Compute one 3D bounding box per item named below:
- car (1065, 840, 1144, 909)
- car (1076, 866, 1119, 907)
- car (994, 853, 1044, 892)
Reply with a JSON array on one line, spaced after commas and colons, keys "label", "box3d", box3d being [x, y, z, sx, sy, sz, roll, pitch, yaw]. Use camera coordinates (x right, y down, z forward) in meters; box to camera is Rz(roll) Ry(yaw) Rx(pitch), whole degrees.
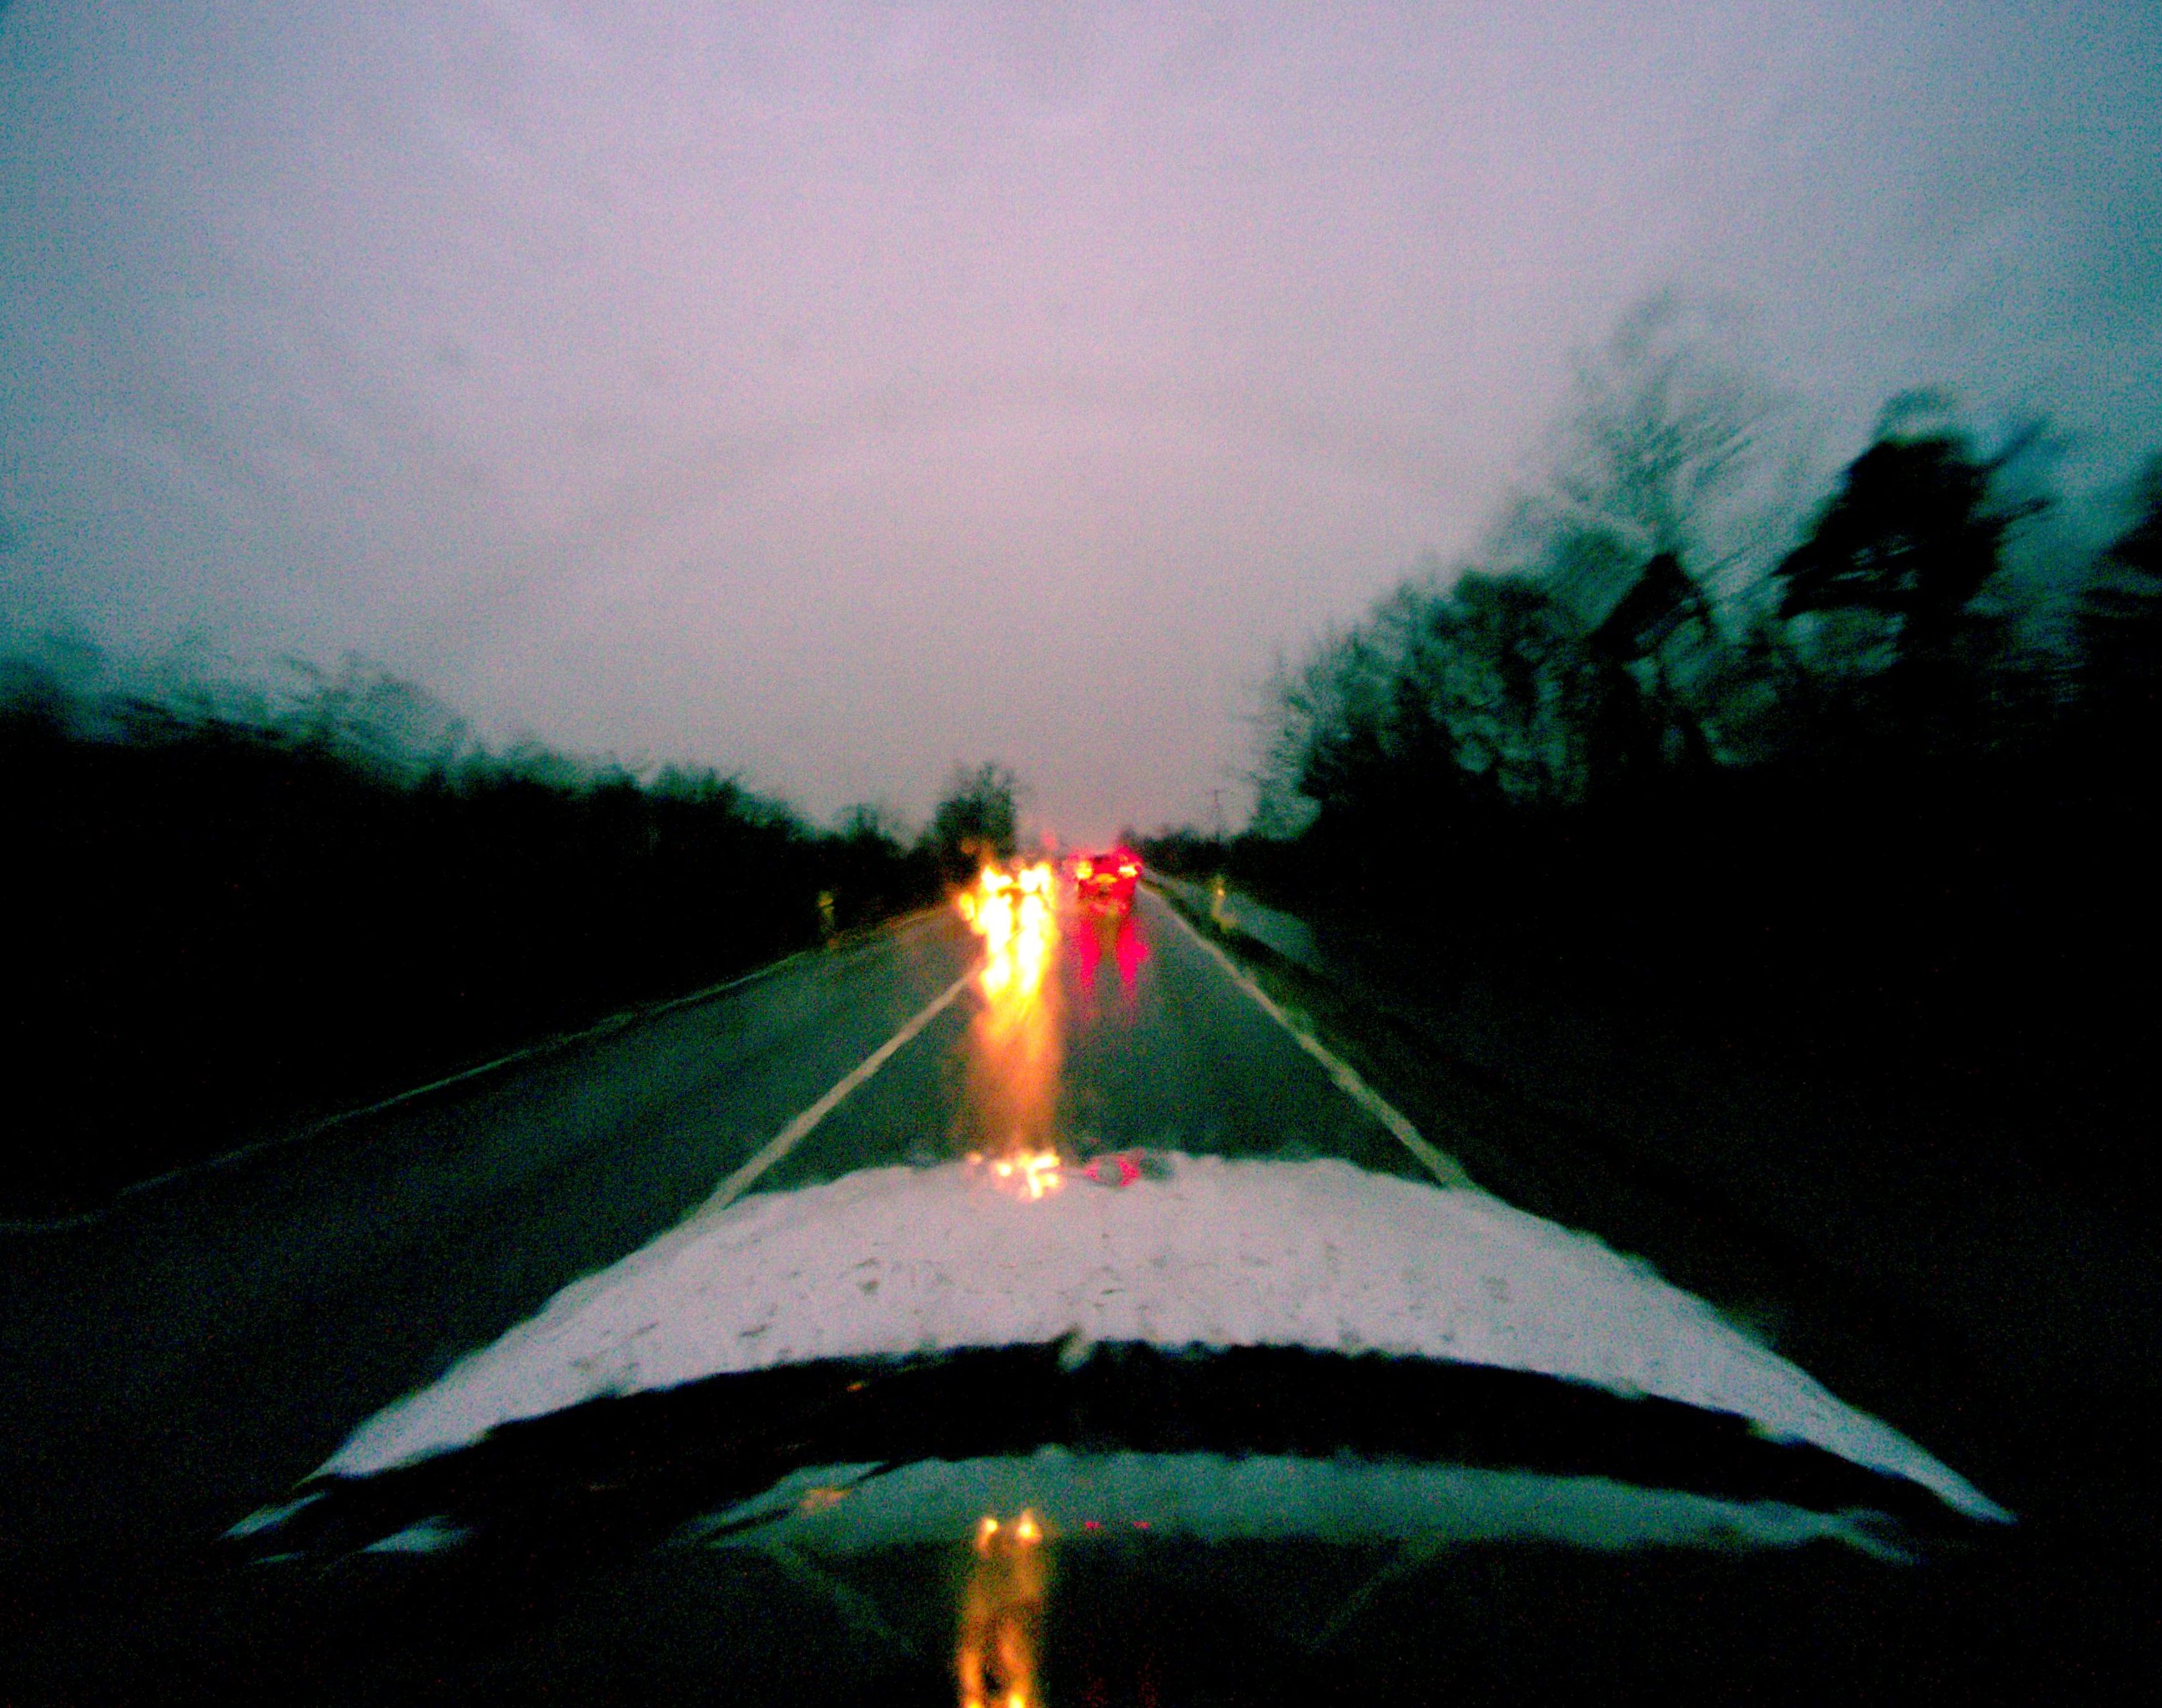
[{"label": "car", "box3d": [0.731, 0.558, 24.540, 2.112, 1.820, 4.982, -1, 0, 2]}, {"label": "car", "box3d": [0.858, 1.543, 40.115, 1.986, 1.849, 4.002, 0, 0, 2]}, {"label": "car", "box3d": [-2.563, 0.738, 34.238, 1.626, 1.457, 3.983, -4, 0, 1]}]
